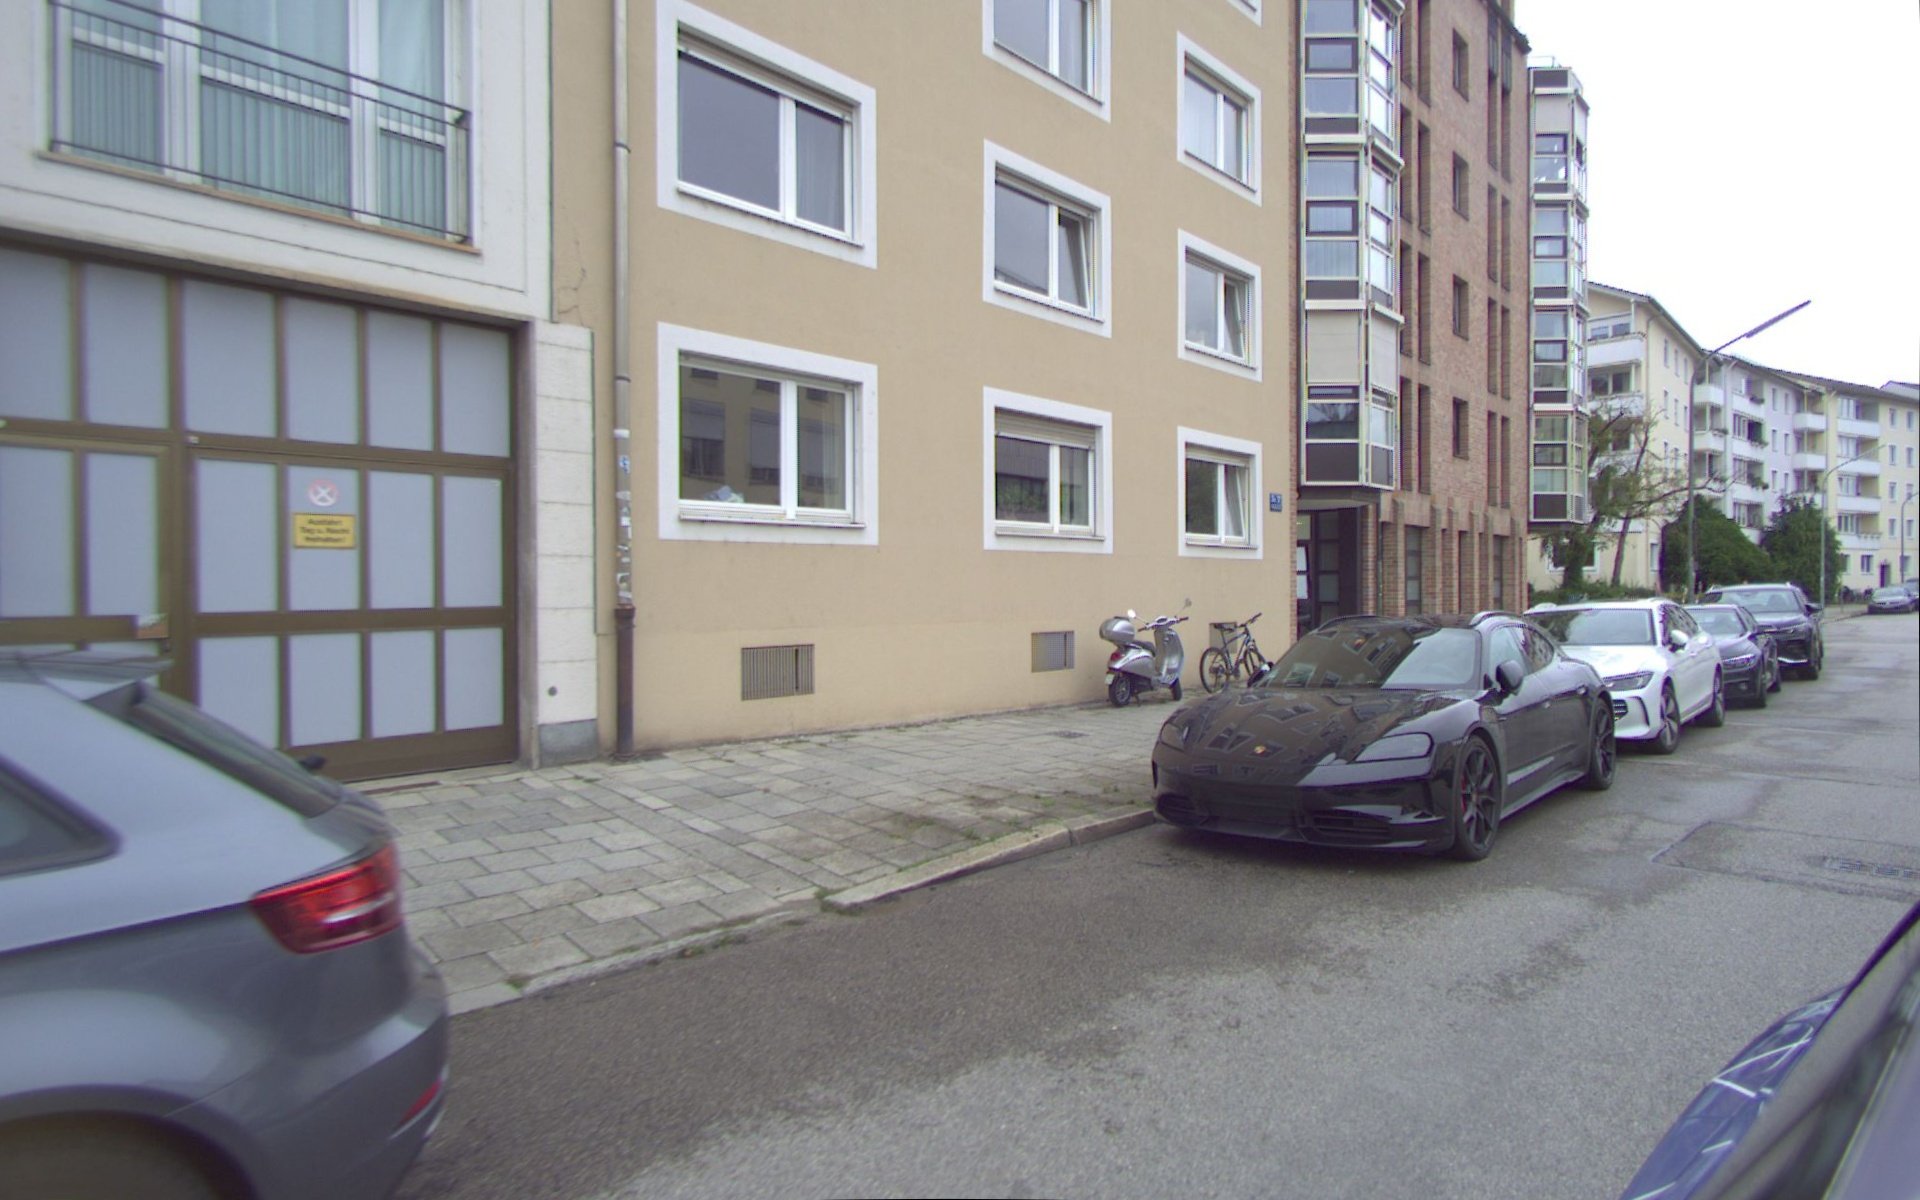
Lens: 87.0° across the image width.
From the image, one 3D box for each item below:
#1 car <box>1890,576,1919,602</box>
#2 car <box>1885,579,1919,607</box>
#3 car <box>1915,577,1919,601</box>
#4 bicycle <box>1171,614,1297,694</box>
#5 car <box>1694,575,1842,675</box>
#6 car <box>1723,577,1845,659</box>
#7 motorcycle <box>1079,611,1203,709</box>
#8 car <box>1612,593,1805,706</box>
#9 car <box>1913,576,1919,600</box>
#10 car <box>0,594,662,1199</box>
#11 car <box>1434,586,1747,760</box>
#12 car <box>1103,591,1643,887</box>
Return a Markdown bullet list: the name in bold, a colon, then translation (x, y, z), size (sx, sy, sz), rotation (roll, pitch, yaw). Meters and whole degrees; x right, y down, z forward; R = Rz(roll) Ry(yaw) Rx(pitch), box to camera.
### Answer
- **car**: translation (54.481, -0.632, 57.974), size (1.751, 1.471, 3.515), rotation (-1, 1, 42)
- **car**: translation (51.359, -0.378, 54.891), size (1.751, 1.471, 3.515), rotation (-1, 1, 42)
- **car**: translation (58.704, -0.680, 60.672), size (3.508, 1.471, 1.754), rotation (-1, 0, -41)
- **bicycle**: translation (4.124, 0.765, 15.096), size (2.360, 1.031, 0.711), rotation (-1, 1, -44)
- **car**: translation (14.512, 0.372, 18.108), size (1.737, 1.599, 3.773), rotation (0, 1, 44)
- **car**: translation (17.783, 0.319, 21.776), size (1.737, 1.599, 4.065), rotation (0, 1, 43)
- **motorcycle**: translation (2.373, 0.737, 13.142), size (1.768, 1.140, 0.629), rotation (-1, 1, -42)
- **car**: translation (10.876, 0.600, 14.593), size (1.737, 1.356, 4.100), rotation (0, 1, 44)
- **car**: translation (64.041, -0.823, 66.247), size (3.502, 1.561, 1.757), rotation (-1, 1, -36)
- **car**: translation (-2.727, 0.743, 1.375), size (1.741, 1.414, 4.133), rotation (-2, -1, 45)
- **car**: translation (6.979, 0.607, 10.987), size (4.417, 1.481, 1.892), rotation (-1, 1, -44)
- **car**: translation (3.160, 0.713, 7.200), size (4.417, 1.414, 1.891), rotation (-1, -2, -44)
